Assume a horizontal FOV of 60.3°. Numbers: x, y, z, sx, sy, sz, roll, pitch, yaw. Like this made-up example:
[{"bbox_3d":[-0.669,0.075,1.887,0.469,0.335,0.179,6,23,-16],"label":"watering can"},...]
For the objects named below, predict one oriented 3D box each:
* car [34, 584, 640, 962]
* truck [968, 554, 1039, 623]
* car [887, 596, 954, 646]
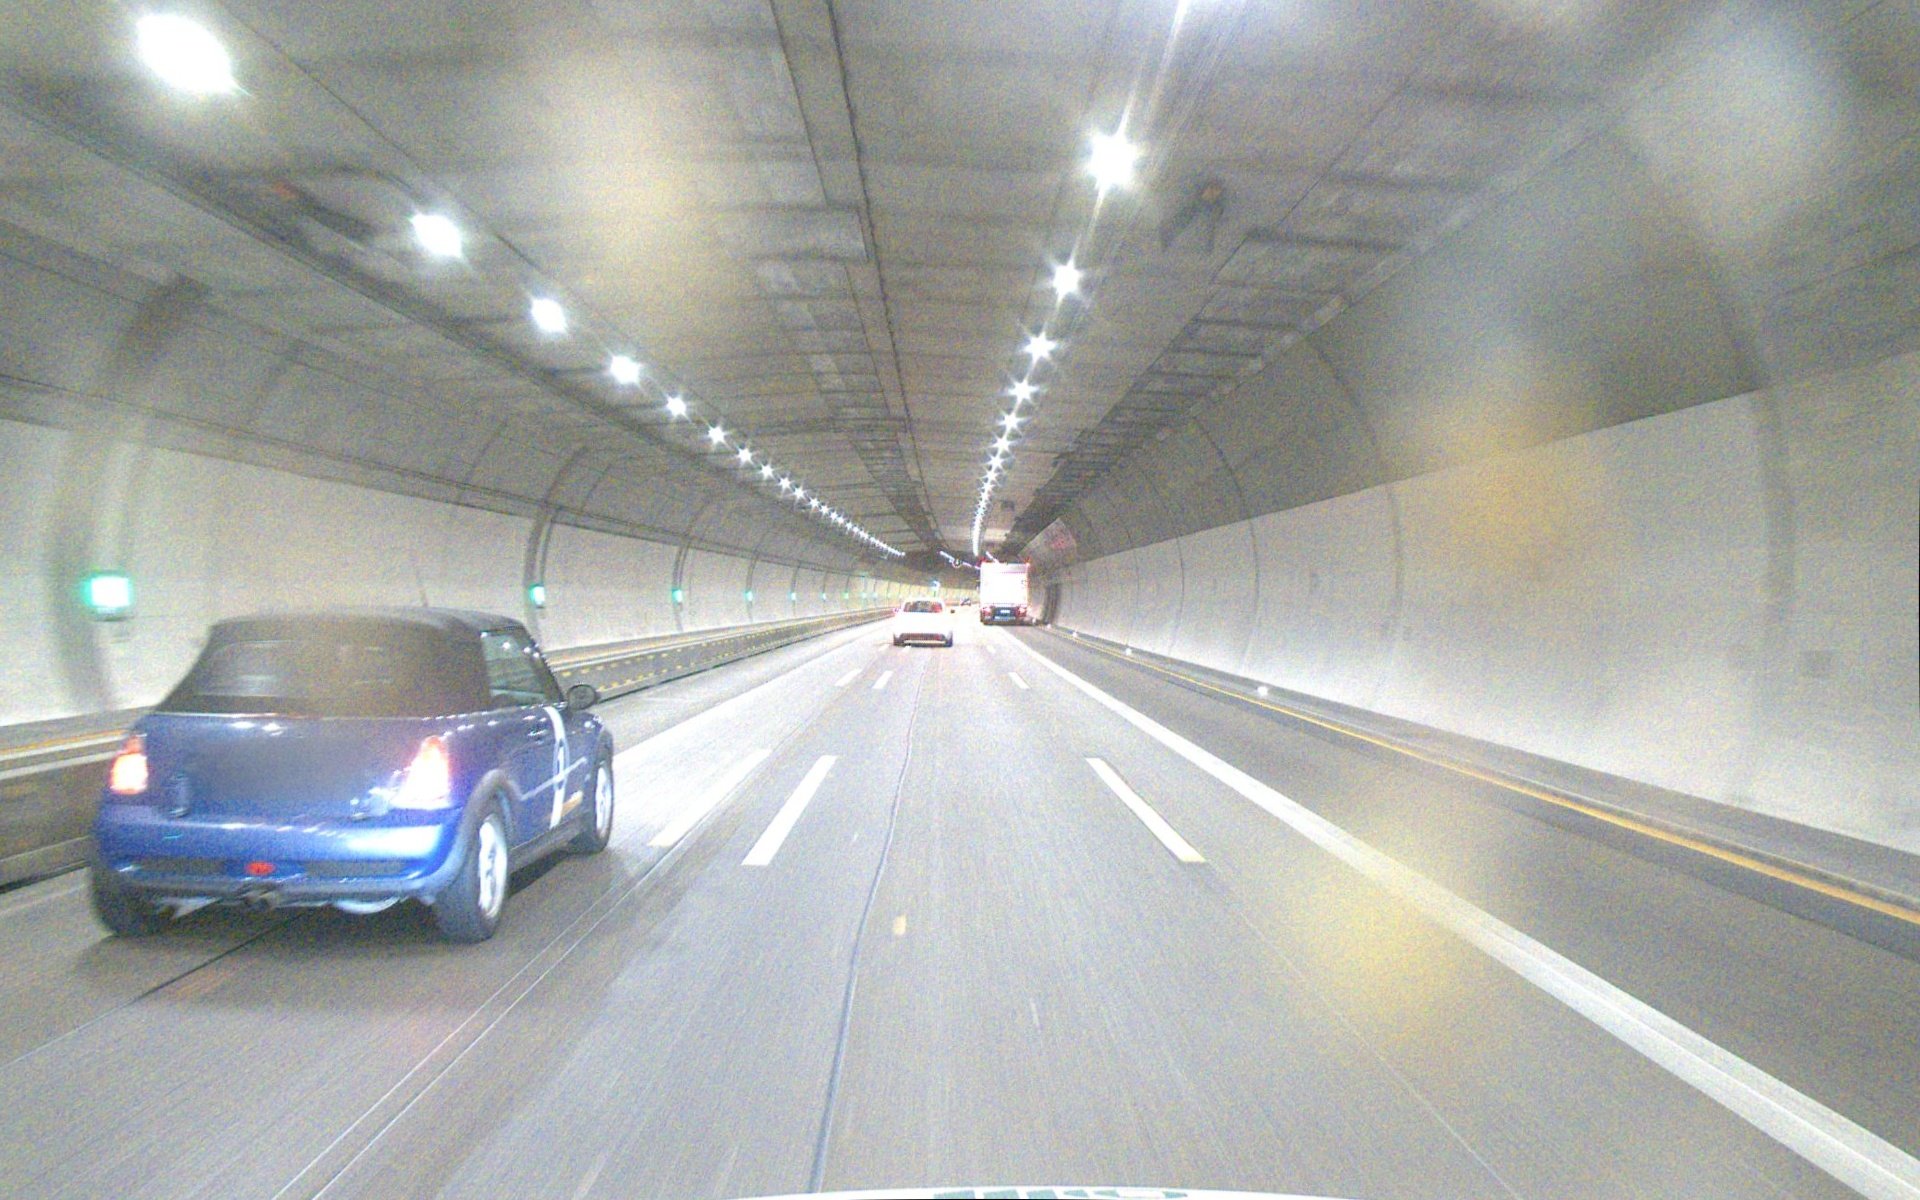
[{"bbox_3d":[-2.819,0.682,8.455,1.655,1.442,3.922,2,0,-1],"label":"car"},{"bbox_3d":[2.444,-0.624,96.646,3.520,3.714,10.718,1,0,-2],"label":"truck"},{"bbox_3d":[-1.242,0.624,51.652,1.953,1.437,4.741,1,0,-2],"label":"car"}]
